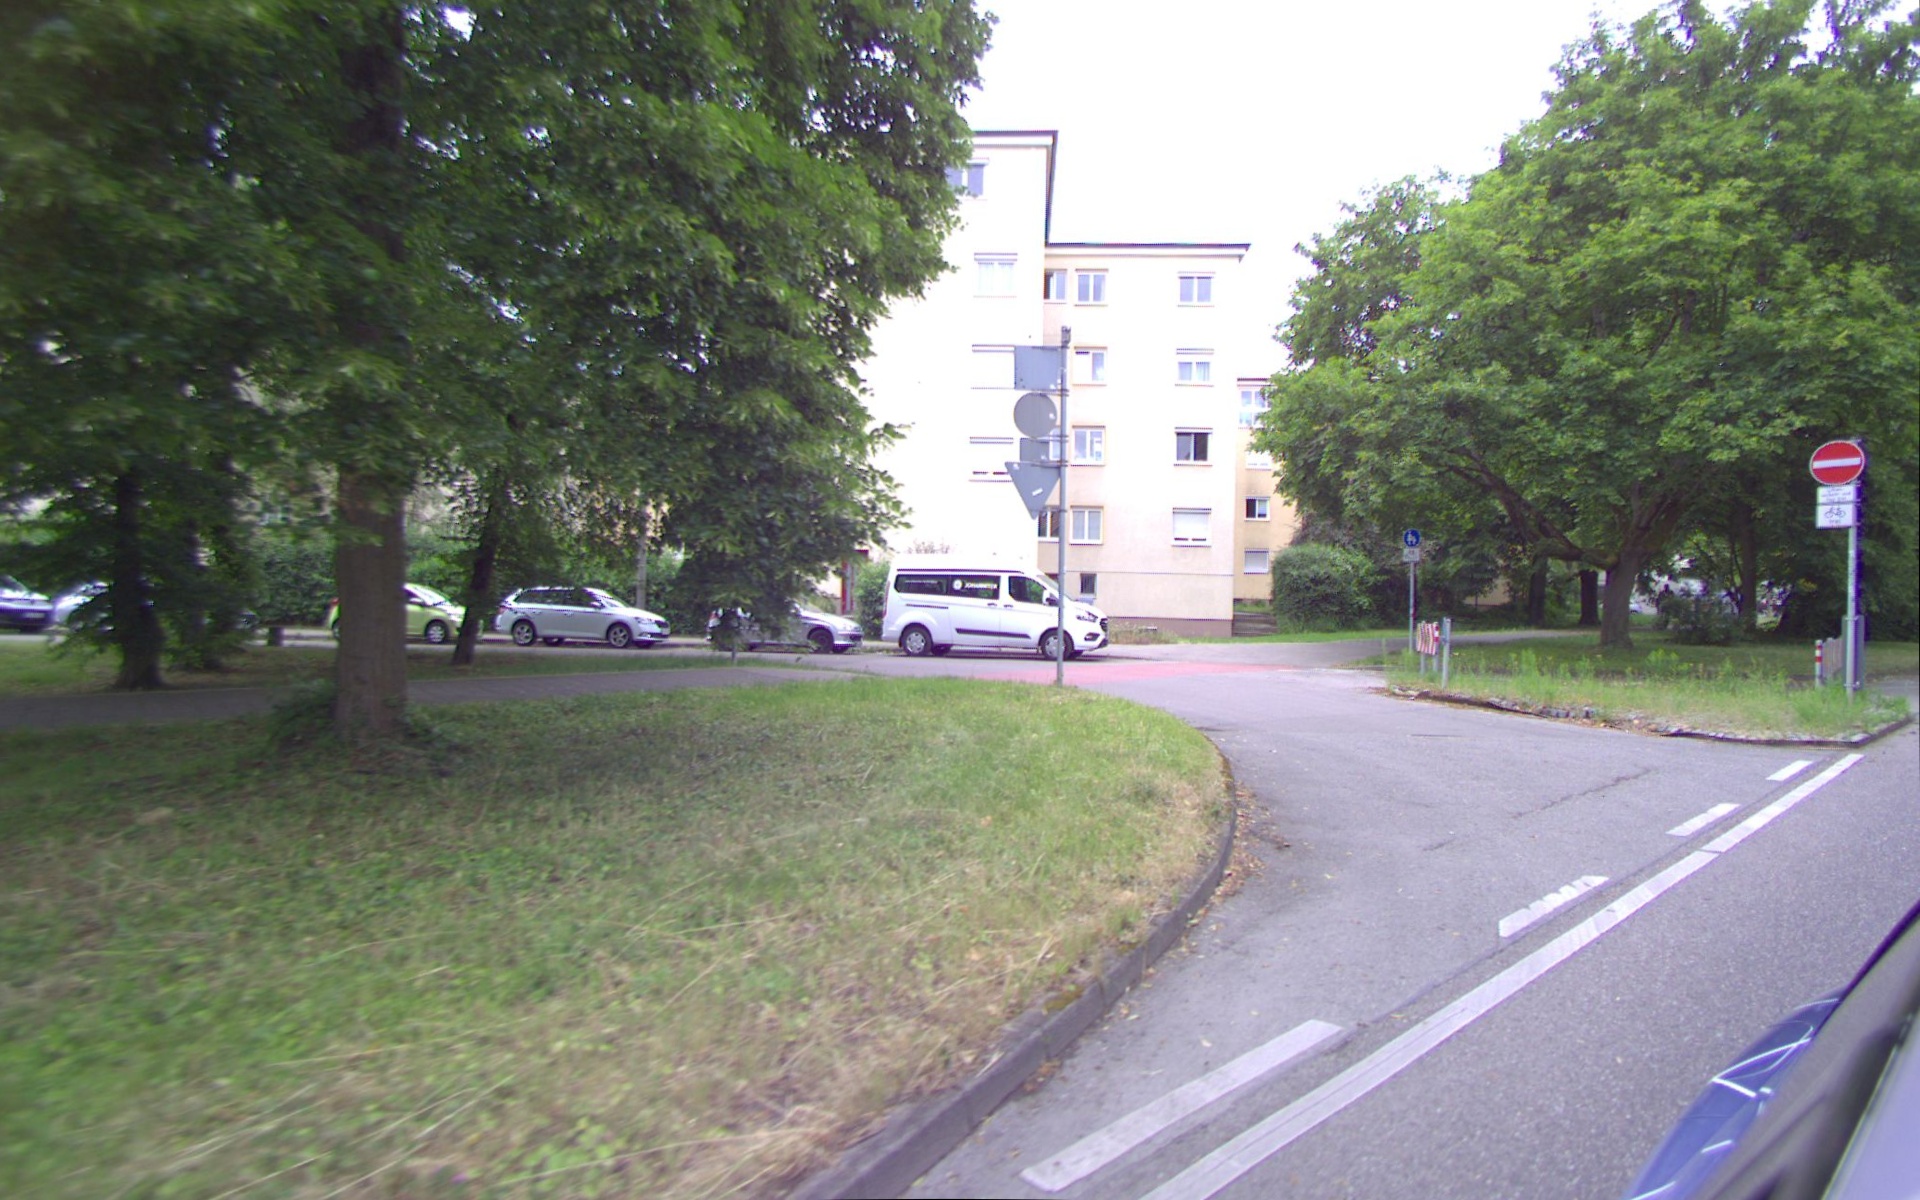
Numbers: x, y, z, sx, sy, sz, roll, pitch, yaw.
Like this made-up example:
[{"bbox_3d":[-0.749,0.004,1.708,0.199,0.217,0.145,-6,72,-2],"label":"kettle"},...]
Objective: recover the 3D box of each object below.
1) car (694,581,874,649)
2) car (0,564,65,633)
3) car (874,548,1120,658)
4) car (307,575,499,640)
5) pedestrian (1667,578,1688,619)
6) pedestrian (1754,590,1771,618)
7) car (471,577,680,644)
[{"bbox_3d":[-4.215,0.342,24.502,3.937,1.529,1.794,1,0,11],"label":"car"},{"bbox_3d":[-25.840,-0.065,26.149,3.927,1.696,1.798,1,0,3],"label":"car"},{"bbox_3d":[0.890,0.026,23.359,5.254,2.328,2.280,1,0,18],"label":"car"},{"bbox_3d":[-14.068,0.173,25.698,3.927,1.529,1.799,1,0,3],"label":"car"},{"bbox_3d":[29.972,-0.053,42.290,0.647,1.682,0.641,1,1,39],"label":"pedestrian"},{"bbox_3d":[41.760,0.225,52.671,0.647,1.435,0.641,1,1,39],"label":"pedestrian"},{"bbox_3d":[-9.478,0.244,25.114,4.522,1.529,1.797,1,0,5],"label":"car"}]
